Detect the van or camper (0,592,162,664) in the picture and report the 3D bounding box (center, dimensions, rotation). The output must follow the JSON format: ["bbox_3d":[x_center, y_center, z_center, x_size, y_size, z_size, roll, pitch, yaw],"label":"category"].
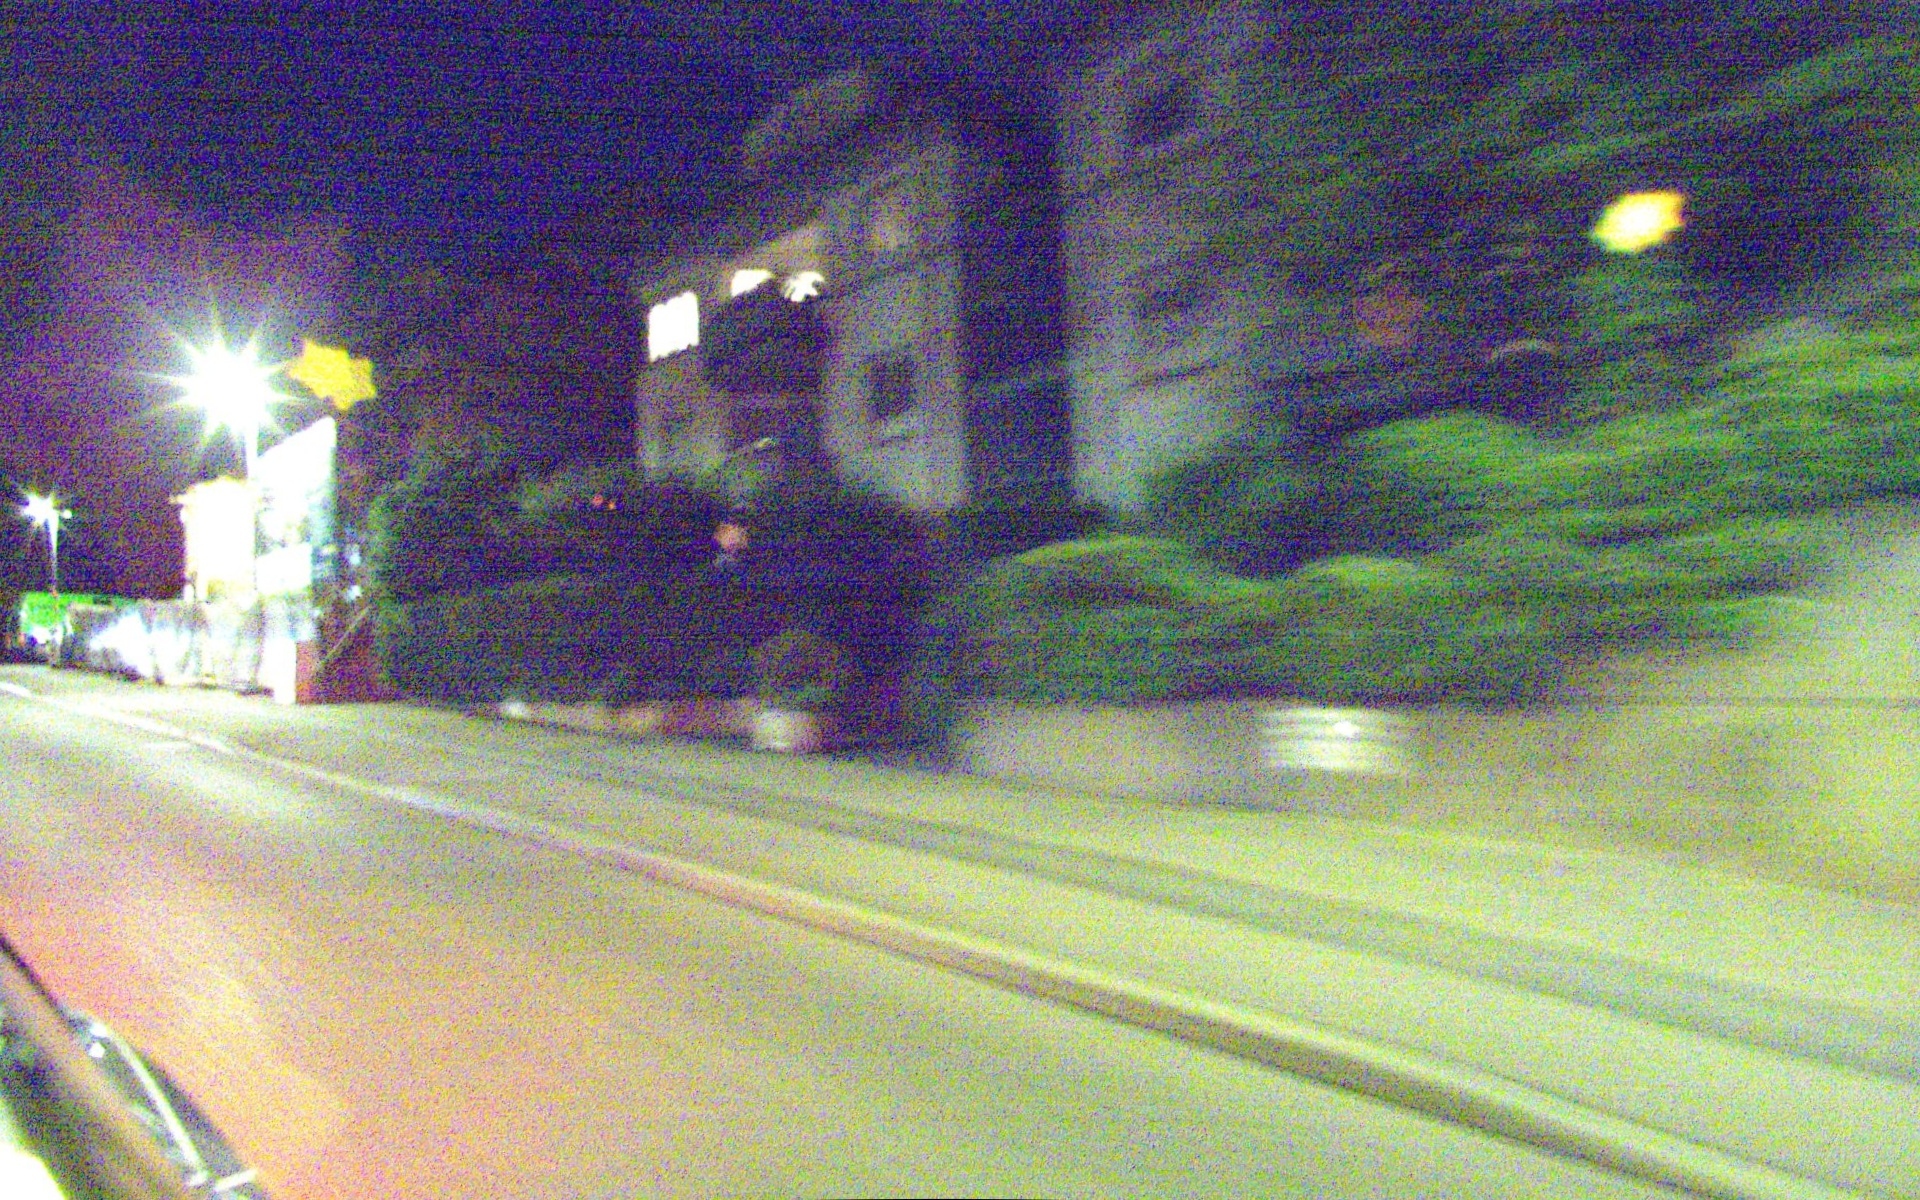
[{"bbox_3d":[-40.804,1.256,47.132,2.125,3.134,5.359,-2,-1,31],"label":"van or camper"}]

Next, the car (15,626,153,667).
[{"bbox_3d":[-38.274,1.994,44.282,2.064,1.625,4.370,-2,-2,42],"label":"car"}]

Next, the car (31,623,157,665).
[{"bbox_3d":[-36.205,1.814,42.362,1.926,1.567,3.772,-4,-3,40],"label":"car"}]
